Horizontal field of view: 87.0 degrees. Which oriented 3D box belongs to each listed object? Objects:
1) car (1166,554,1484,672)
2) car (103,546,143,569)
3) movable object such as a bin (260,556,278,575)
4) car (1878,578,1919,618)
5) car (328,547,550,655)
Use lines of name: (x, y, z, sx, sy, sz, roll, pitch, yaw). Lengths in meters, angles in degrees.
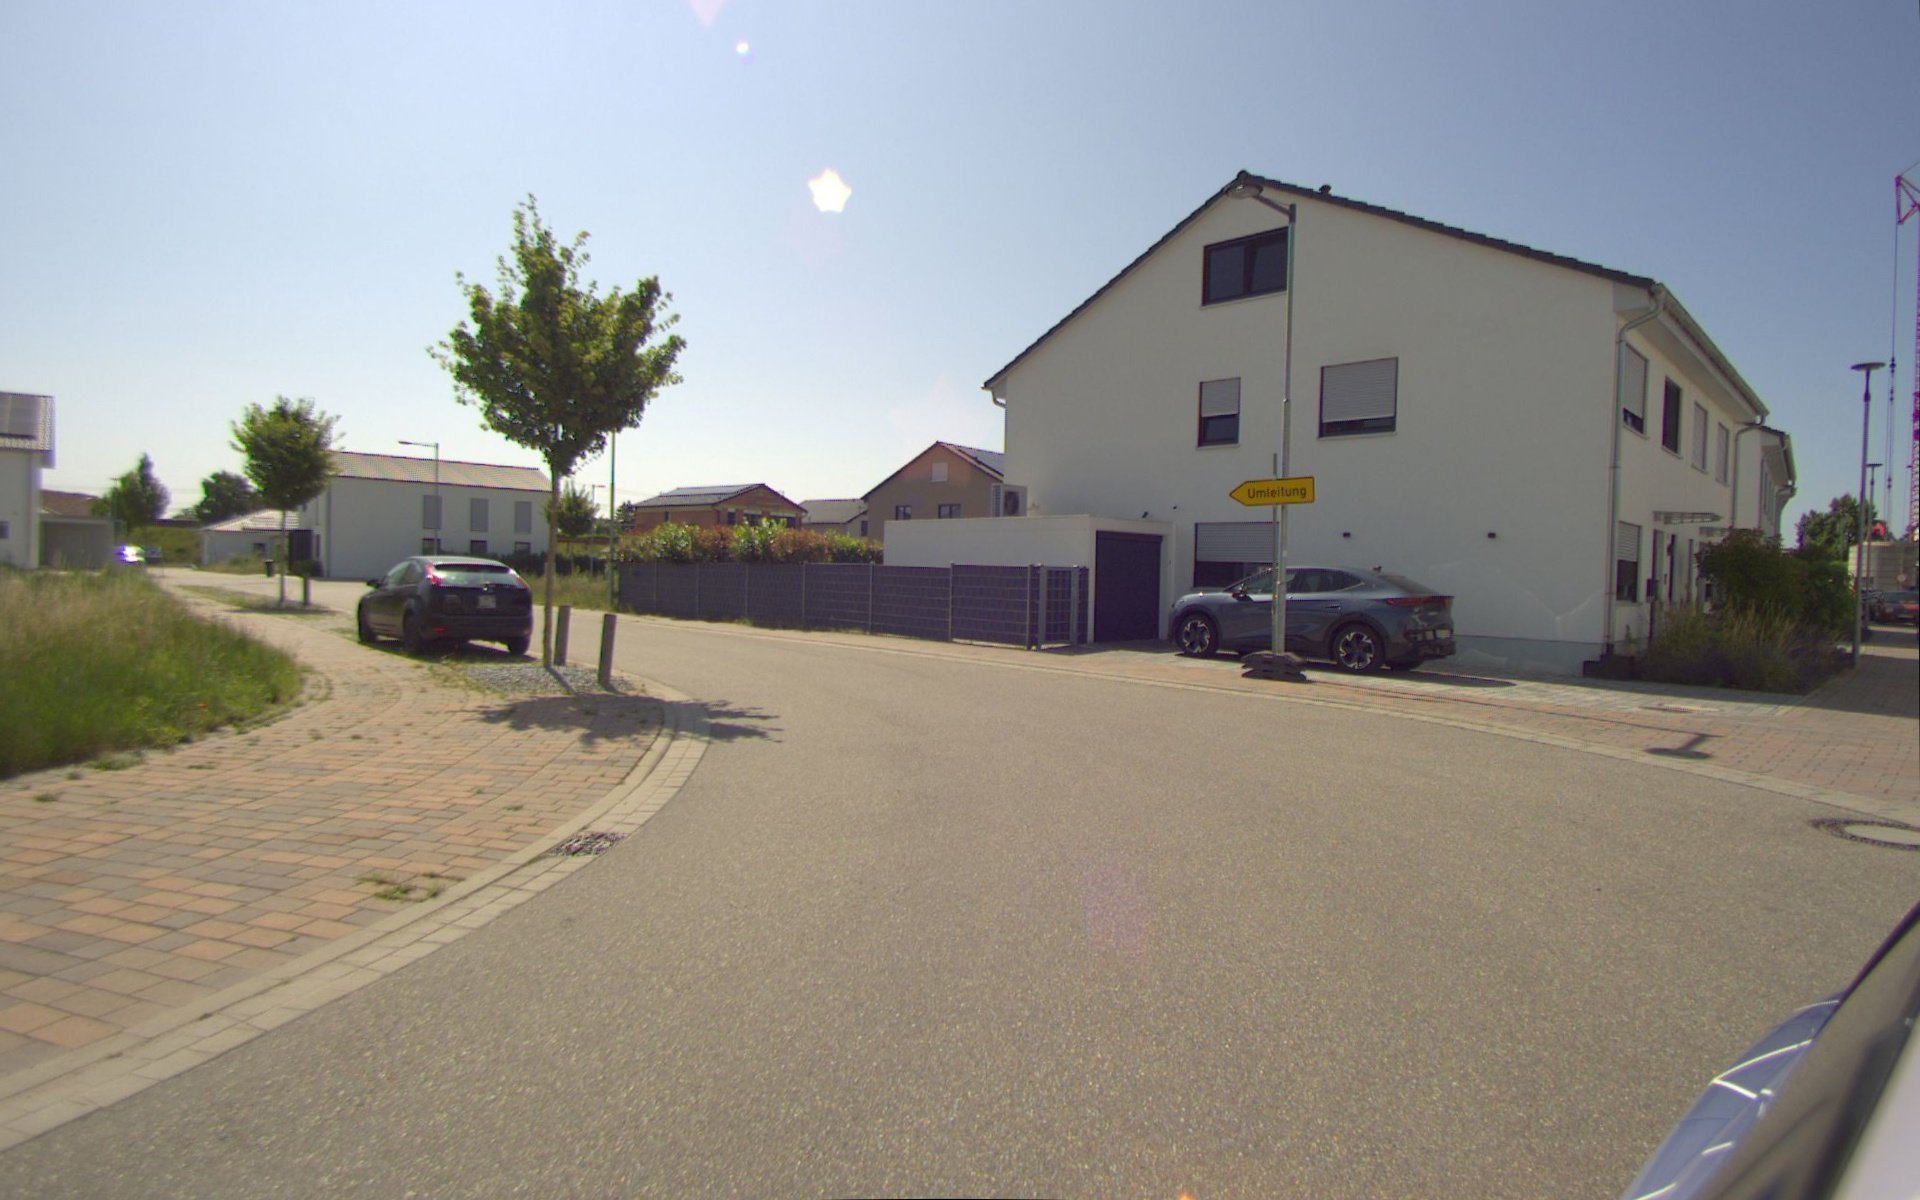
car: (5.667, 0.114, 16.122, 1.927, 1.577, 4.342, 1, 2, -43)
car: (-56.403, -2.853, 68.154, 1.893, 1.437, 4.413, 0, 2, -42)
movable object such as a bin: (-40.866, -2.060, 59.868, 0.794, 1.112, 0.671, 0, 2, -41)
car: (42.055, -0.095, 44.773, 1.794, 1.637, 3.627, 2, 3, 37)
car: (-8.456, -0.076, 16.264, 4.178, 1.512, 1.822, 2, 3, 42)
